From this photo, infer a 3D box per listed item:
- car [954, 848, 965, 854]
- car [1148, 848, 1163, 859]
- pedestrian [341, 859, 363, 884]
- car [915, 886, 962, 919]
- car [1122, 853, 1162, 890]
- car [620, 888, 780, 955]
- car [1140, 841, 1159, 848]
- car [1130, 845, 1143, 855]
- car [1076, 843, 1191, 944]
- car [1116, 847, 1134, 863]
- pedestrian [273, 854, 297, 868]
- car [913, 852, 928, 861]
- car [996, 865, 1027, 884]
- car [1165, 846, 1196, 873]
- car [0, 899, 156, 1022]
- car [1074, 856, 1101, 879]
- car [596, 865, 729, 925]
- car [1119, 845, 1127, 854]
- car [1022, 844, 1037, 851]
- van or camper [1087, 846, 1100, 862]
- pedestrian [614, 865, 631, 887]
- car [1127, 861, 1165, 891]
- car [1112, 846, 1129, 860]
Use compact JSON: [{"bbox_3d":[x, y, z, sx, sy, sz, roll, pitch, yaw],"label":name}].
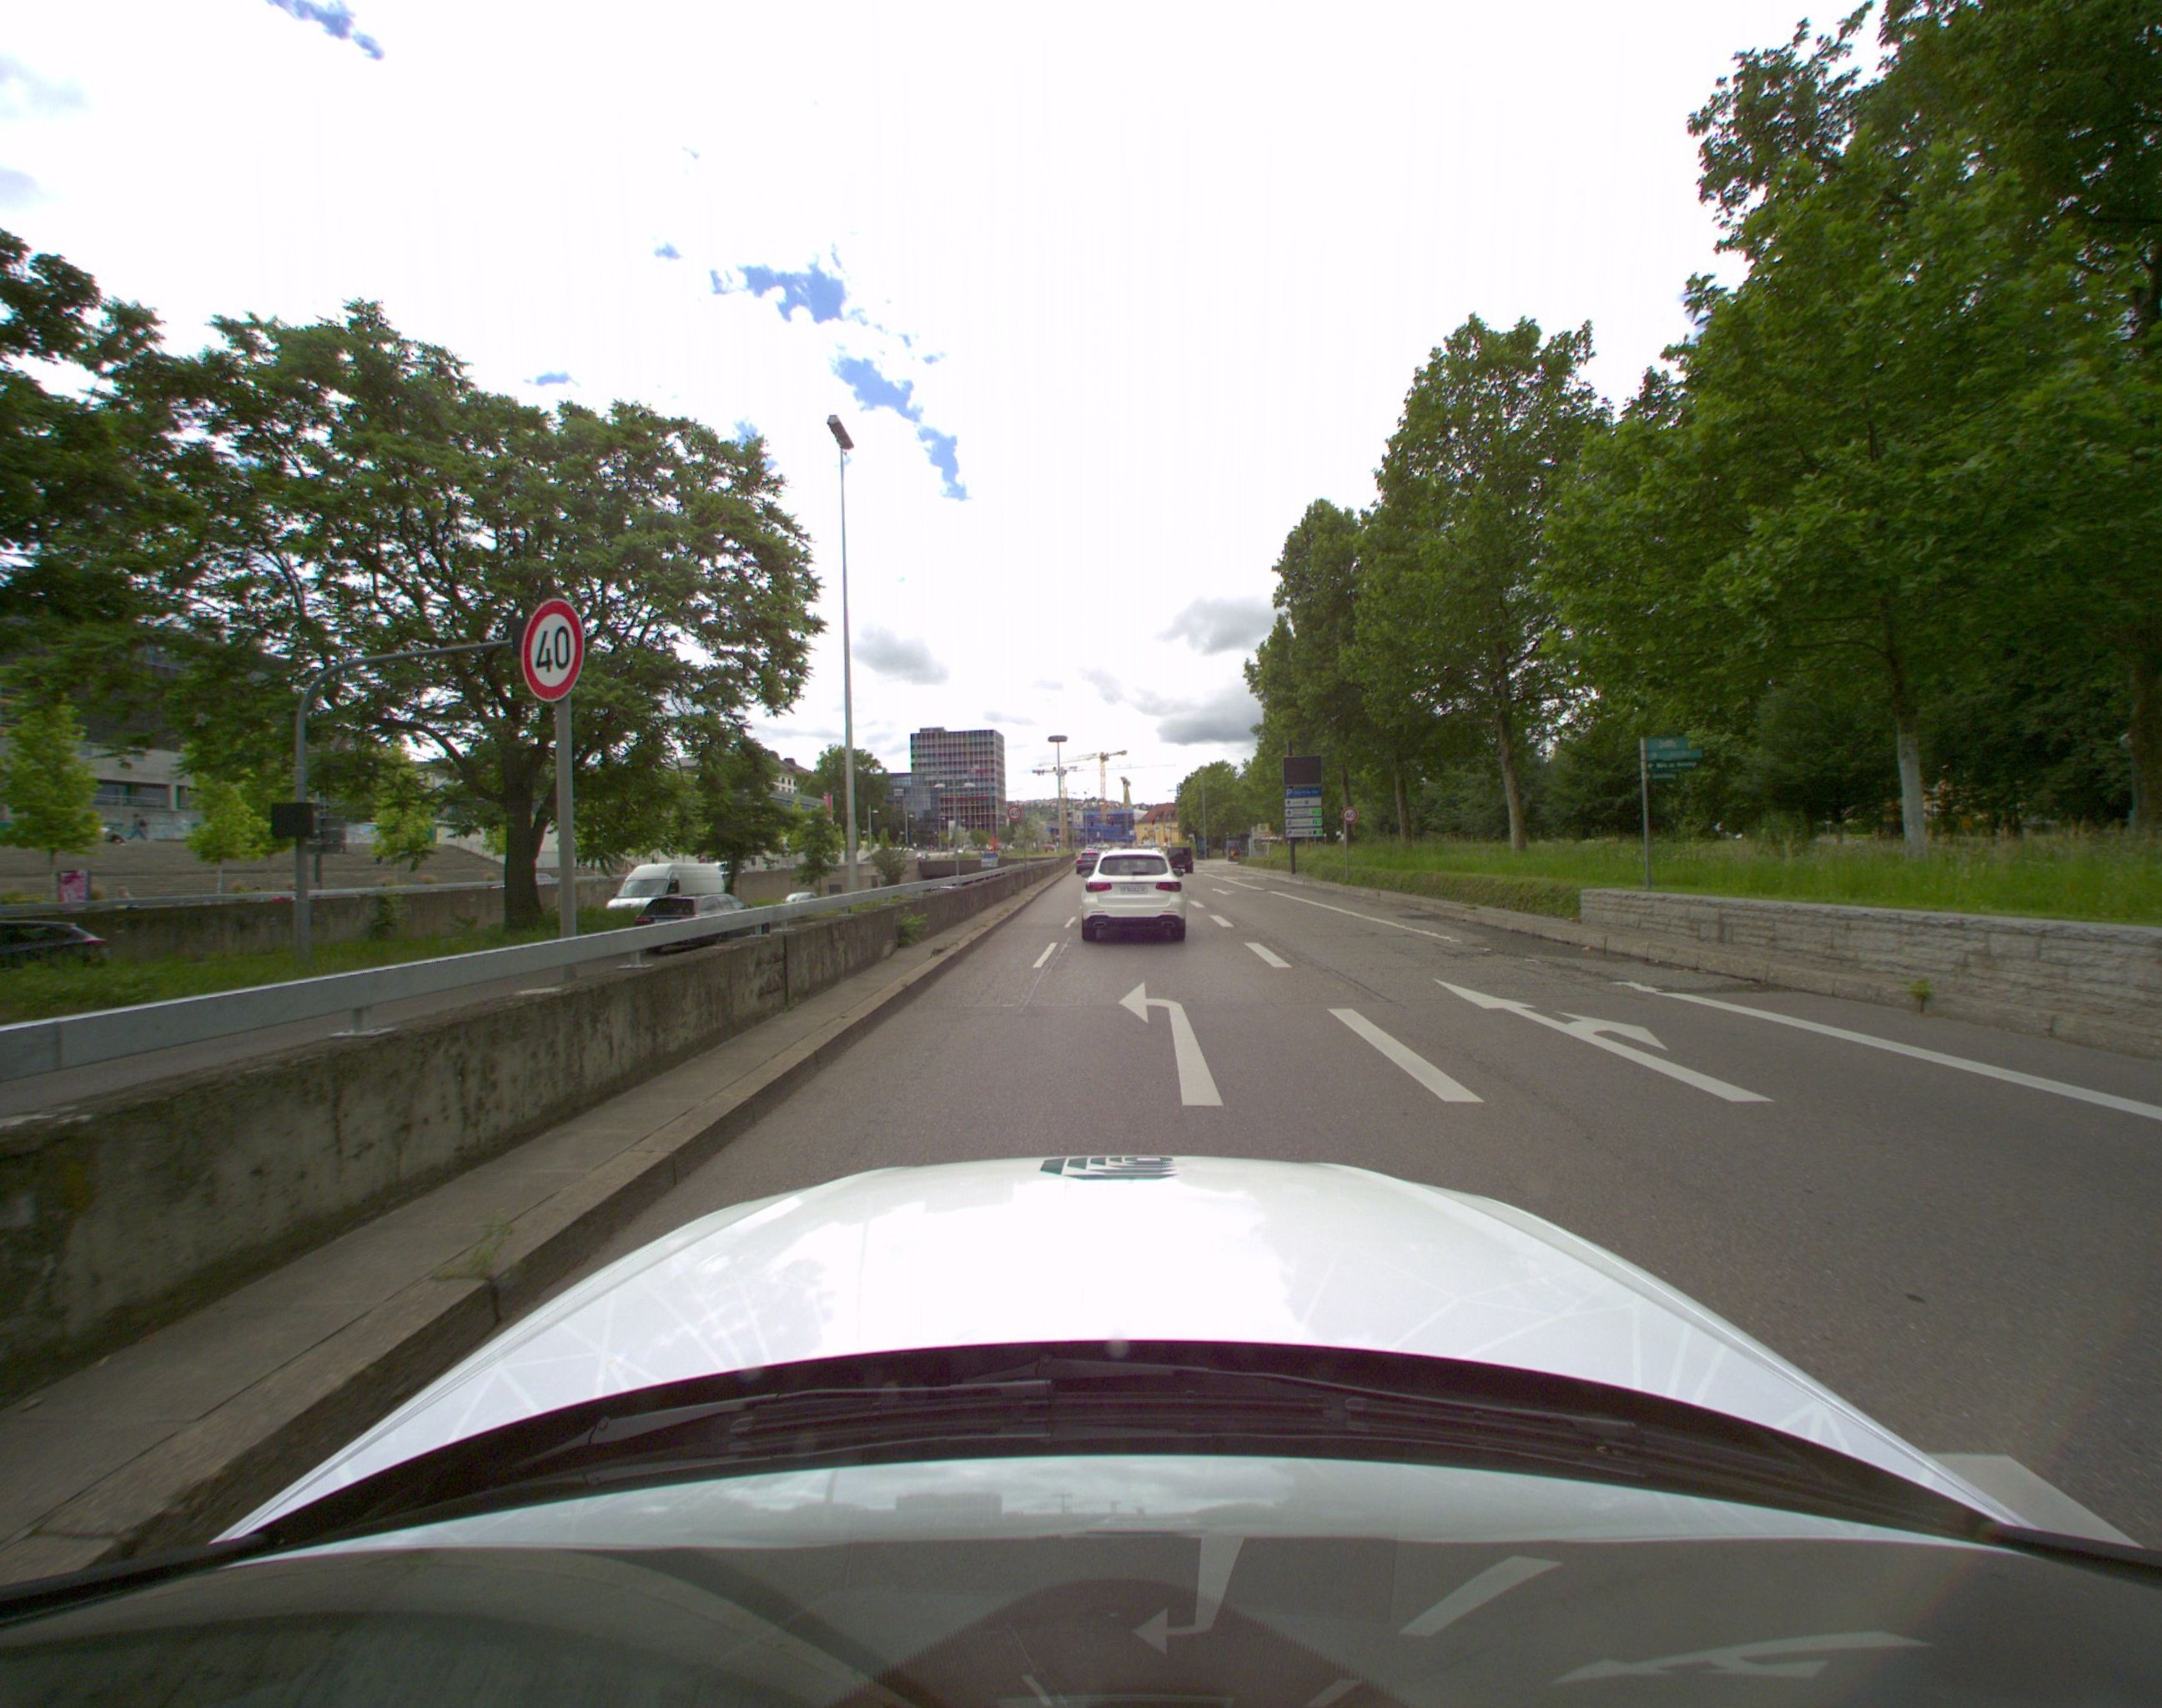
[{"bbox_3d":[-27.921,-0.724,187.123,1.803,1.427,3.706,1,-1,0],"label":"car"},{"bbox_3d":[12.075,-0.034,132.202,1.989,1.618,3.995,1,-1,-3],"label":"car"},{"bbox_3d":[-50.254,1.216,56.155,0.639,1.640,0.859,4,-1,1],"label":"pedestrian"},{"bbox_3d":[-7.093,2.390,40.807,1.621,1.509,3.540,0,-1,1],"label":"car"},{"bbox_3d":[2.800,0.790,37.995,1.666,1.628,4.002,1,-1,2],"label":"car"},{"bbox_3d":[-9.964,1.709,21.809,1.805,1.460,4.865,0,-1,2],"label":"car"},{"bbox_3d":[20.032,-2.780,238.580,5.221,2.060,1.885,0,-1,40],"label":"car"},{"bbox_3d":[9.011,-0.667,132.449,1.714,1.584,3.999,1,0,0],"label":"car"},{"bbox_3d":[0.947,0.702,15.792,1.933,1.684,4.001,-1,-1,2],"label":"car"},{"bbox_3d":[5.018,0.126,93.329,1.987,1.662,4.000,1,-1,1],"label":"car"},{"bbox_3d":[-51.744,0.469,52.920,0.639,0.883,0.859,4,-1,1],"label":"pedestrian"},{"bbox_3d":[-26.008,0.405,132.285,1.828,1.360,3.862,1,-1,-4],"label":"car"},{"bbox_3d":[-5.131,1.518,60.646,1.712,1.292,4.004,1,0,3],"label":"car"},{"bbox_3d":[7.455,0.431,61.328,1.970,1.893,4.710,1,-1,3],"label":"car"},{"bbox_3d":[-19.640,1.891,14.360,1.986,2.014,4.000,1,-1,1],"label":"car"},{"bbox_3d":[0.532,0.982,60.284,1.916,1.602,4.000,-1,0,1],"label":"car"},{"bbox_3d":[-16.512,1.523,32.639,1.968,2.165,6.214,0,-1,1],"label":"car"},{"bbox_3d":[10.088,-1.063,197.507,1.794,2.014,4.000,1,-1,1],"label":"car"},{"bbox_3d":[-15.572,-2.078,246.449,3.995,2.014,1.989,1,-1,-16],"label":"car"},{"bbox_3d":[1.947,-0.033,124.849,1.916,2.320,4.000,-1,-2,1],"label":"van or camper"},{"bbox_3d":[-35.354,1.715,62.830,0.732,1.640,1.005,-1,0,1],"label":"pedestrian"},{"bbox_3d":[3.771,1.263,47.777,1.916,1.602,4.000,-1,0,1],"label":"car"},{"bbox_3d":[5.137,-0.128,105.787,1.987,1.781,4.000,1,-1,1],"label":"car"}]
